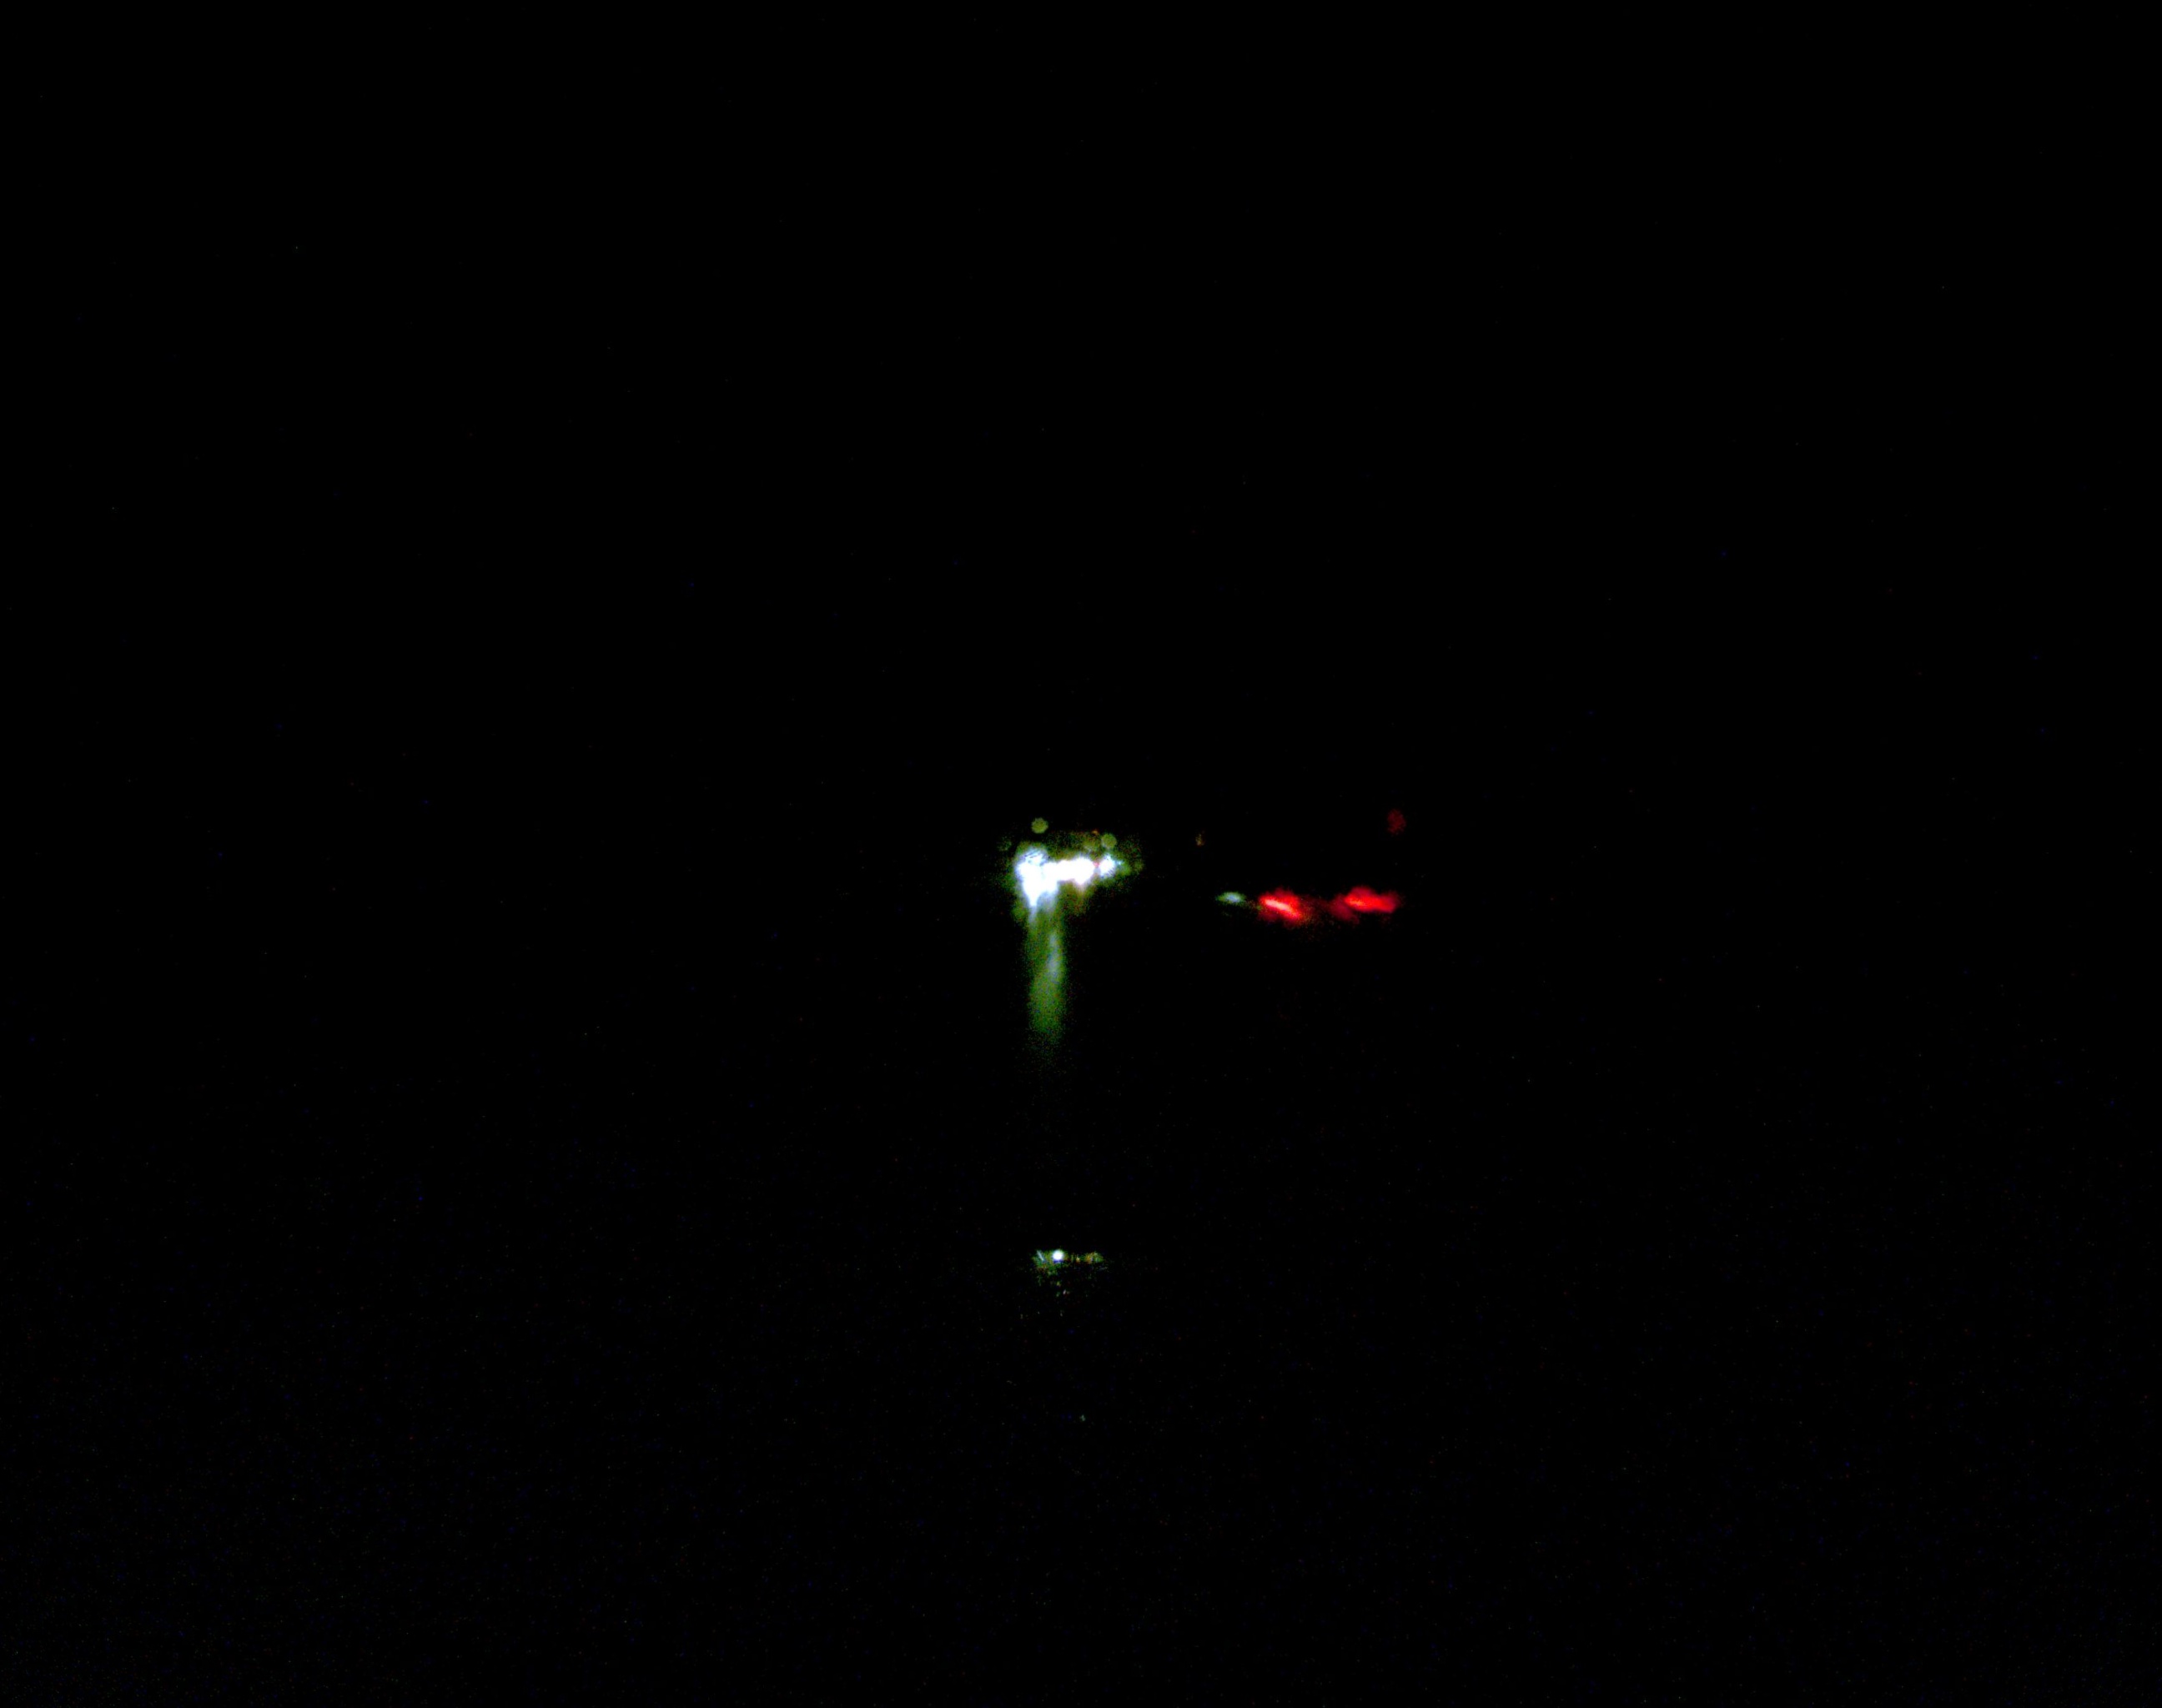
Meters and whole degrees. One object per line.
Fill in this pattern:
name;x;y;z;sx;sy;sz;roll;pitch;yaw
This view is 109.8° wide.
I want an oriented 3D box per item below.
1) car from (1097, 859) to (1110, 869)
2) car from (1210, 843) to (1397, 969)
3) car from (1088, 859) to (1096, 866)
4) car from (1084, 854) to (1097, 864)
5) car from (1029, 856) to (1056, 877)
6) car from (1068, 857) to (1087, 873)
car;3.673;1.556;124.589;1.999;1.465;4.275;-3;1;-1
car;3.368;0.701;12.295;1.904;1.635;3.791;-3;1;1
car;2.984;2.300;203.813;1.998;1.576;4.000;-3;0;0
car;1.614;0.835;127.984;1.998;1.576;4.000;-3;0;0
car;-3.218;1.059;64.315;1.999;1.576;3.999;-3;0;0
car;-0.367;1.252;86.383;1.998;1.576;4.000;-3;0;0
